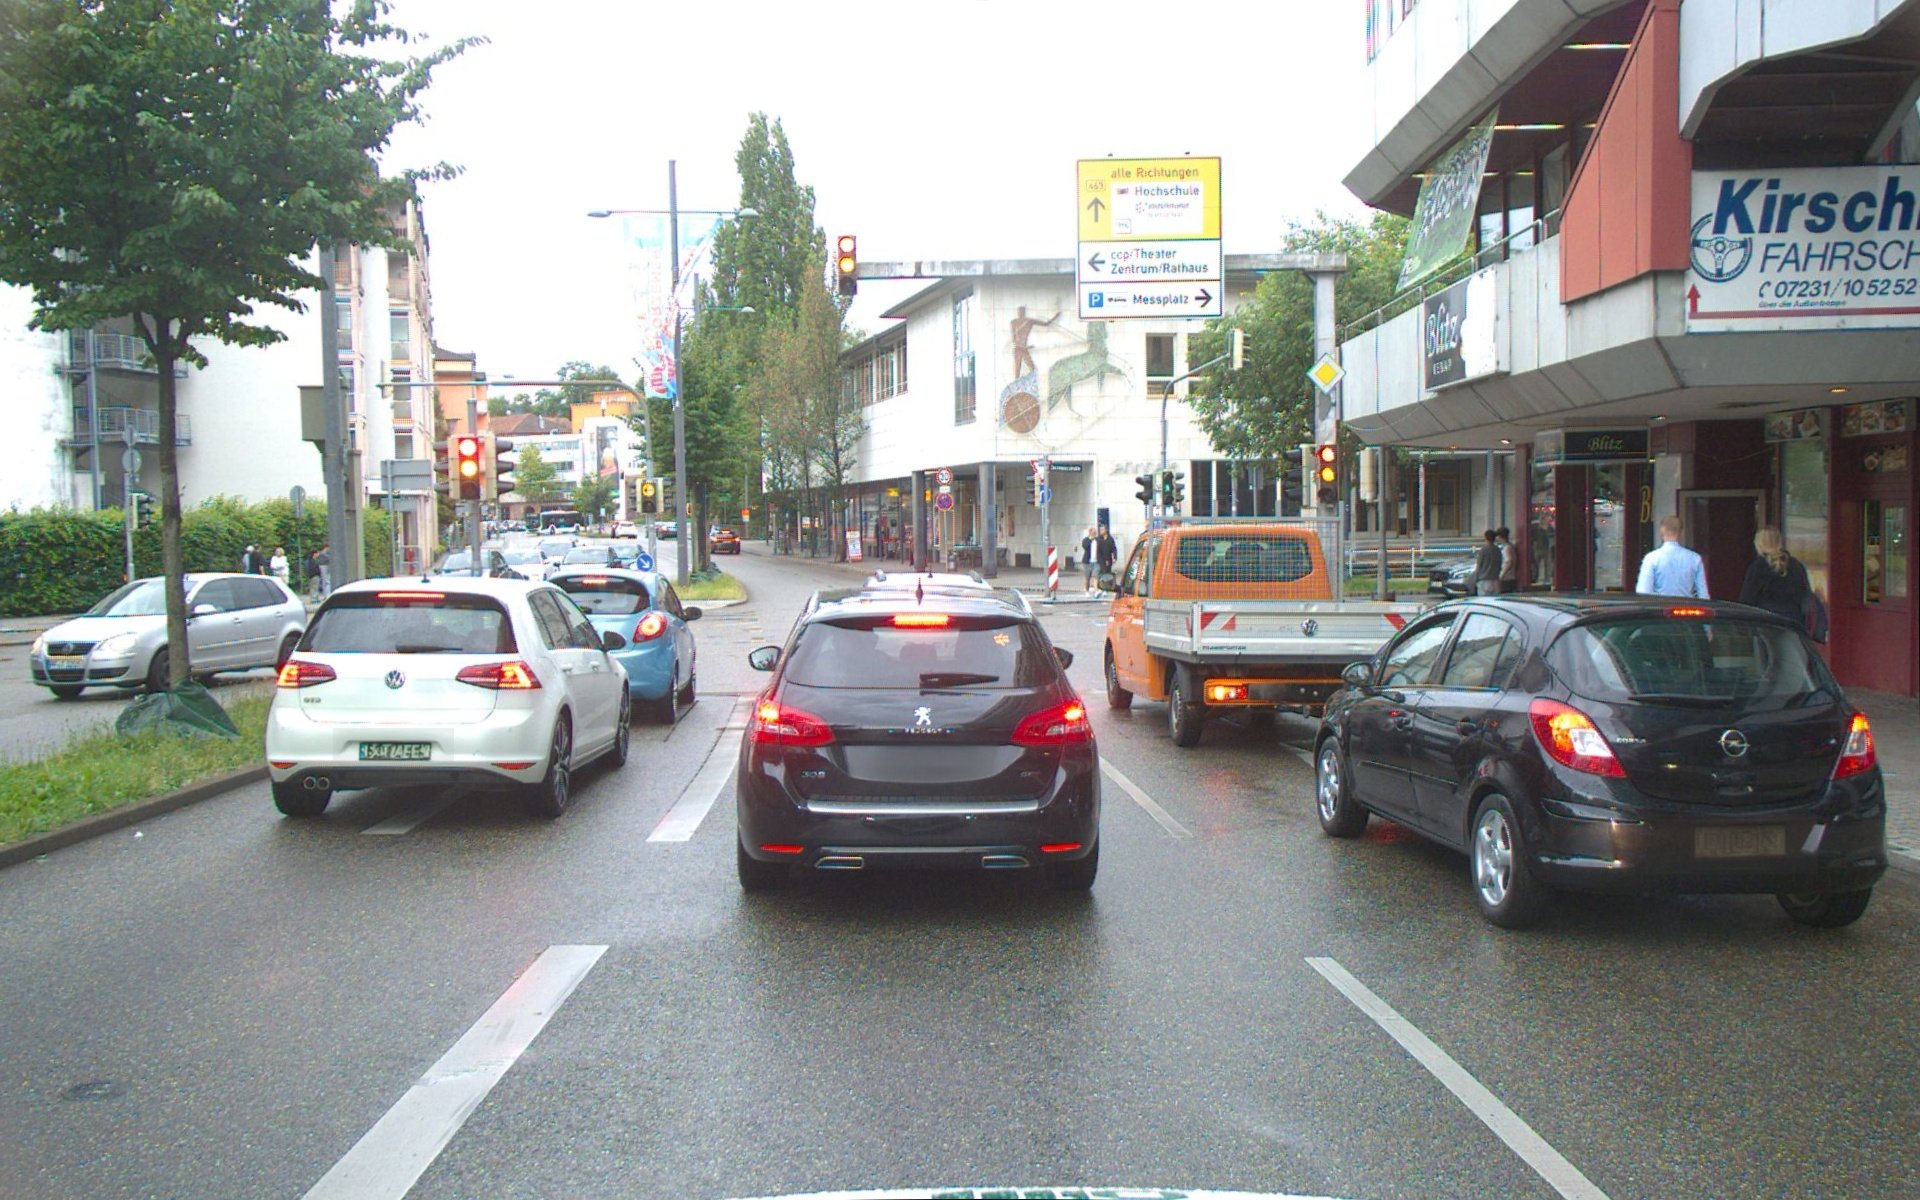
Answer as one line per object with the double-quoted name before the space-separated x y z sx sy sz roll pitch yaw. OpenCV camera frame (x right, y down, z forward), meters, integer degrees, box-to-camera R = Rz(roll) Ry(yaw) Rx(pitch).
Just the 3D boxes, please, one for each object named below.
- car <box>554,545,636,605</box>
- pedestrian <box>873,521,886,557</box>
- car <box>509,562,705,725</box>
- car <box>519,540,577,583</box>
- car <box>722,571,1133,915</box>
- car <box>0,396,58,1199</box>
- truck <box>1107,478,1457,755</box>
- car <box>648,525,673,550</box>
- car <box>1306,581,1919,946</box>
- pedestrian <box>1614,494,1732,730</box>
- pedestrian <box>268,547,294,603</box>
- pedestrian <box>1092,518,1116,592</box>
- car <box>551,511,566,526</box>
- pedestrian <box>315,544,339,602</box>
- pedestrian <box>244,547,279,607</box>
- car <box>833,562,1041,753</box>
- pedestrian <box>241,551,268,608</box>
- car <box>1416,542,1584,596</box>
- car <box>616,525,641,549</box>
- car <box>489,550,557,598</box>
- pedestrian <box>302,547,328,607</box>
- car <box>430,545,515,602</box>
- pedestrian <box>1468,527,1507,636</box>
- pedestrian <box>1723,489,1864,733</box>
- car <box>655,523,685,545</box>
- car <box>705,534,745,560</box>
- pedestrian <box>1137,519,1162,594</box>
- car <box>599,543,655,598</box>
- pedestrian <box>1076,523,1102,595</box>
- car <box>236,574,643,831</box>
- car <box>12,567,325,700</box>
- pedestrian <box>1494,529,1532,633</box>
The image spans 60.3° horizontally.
"car" -10.493 -0.683 47.788 1.710 1.607 3.996 1 -1 -4
"pedestrian" -4.028 -3.061 82.658 0.461 1.778 0.537 1 -1 -21
"car" -3.609 0.374 17.435 1.601 1.512 3.606 1 2 -6
"car" -15.075 -1.427 60.704 1.602 1.512 3.605 1 2 -7
"car" -0.147 0.580 9.000 1.741 1.454 3.842 1 1 0
"car" -3.050 0.447 1.414 1.873 1.903 5.071 1 -1 -2
"truck" 2.832 0.069 15.880 2.133 2.210 5.018 1 2 -3
"car" -26.642 -5.520 146.846 1.679 1.970 3.980 1 -1 -18
"car" 3.121 0.648 8.675 1.584 1.454 3.839 1 1 -4
"pedestrian" 6.085 0.104 14.140 0.721 1.968 0.640 1 -1 -1
"pedestrian" -20.032 -0.743 48.786 0.569 1.627 0.526 1 -1 -7
"pedestrian" 3.802 -1.175 43.632 0.623 1.930 0.734 1 -1 6
"car" -54.309 -10.996 223.900 1.679 1.817 3.980 1 -1 -18
"pedestrian" -19.641 -0.824 51.336 0.528 1.778 0.564 1 -1 -6
"pedestrian" -19.707 -0.639 46.687 0.624 1.671 0.734 1 -1 2
"car" -0.218 0.421 15.290 1.662 1.512 3.793 1 2 -1
"pedestrian" -20.407 -0.601 47.850 0.569 1.627 0.526 1 -1 -7
"car" 13.261 -0.755 40.784 3.610 1.233 1.836 1 -1 3
"car" -29.199 -5.542 145.530 1.679 1.915 3.980 1 -1 -18
"car" -14.176 -0.872 53.800 1.602 1.512 3.605 1 2 -7
"pedestrian" -19.389 -0.694 49.715 0.529 1.778 0.746 1 -1 -9
"car" -13.757 -0.769 46.846 1.543 1.512 3.607 1 2 -4
"pedestrian" 8.408 -0.297 26.359 0.417 1.712 0.450 -1 -1 -2
"pedestrian" 7.032 0.093 13.983 0.721 1.968 0.640 -4 -1 -1
"car" -24.027 -5.440 136.978 1.699 1.516 4.707 1 -1 -19
"car" -14.570 -3.308 102.468 1.759 1.479 4.486 -3 3 -17
"pedestrian" 4.983 -1.141 43.582 0.623 1.930 0.734 1 -1 6
"car" -10.981 -0.943 54.610 1.713 1.669 3.989 1 -1 -11
"pedestrian" 3.277 -1.043 41.884 0.623 1.788 0.734 1 -1 6
"car" -3.347 0.561 11.400 1.742 1.454 3.840 1 1 -3
"car" -10.166 0.405 21.565 1.598 1.494 3.756 -4 -1 14
"pedestrian" 8.947 -0.304 26.767 0.388 1.668 0.504 -1 -1 0
